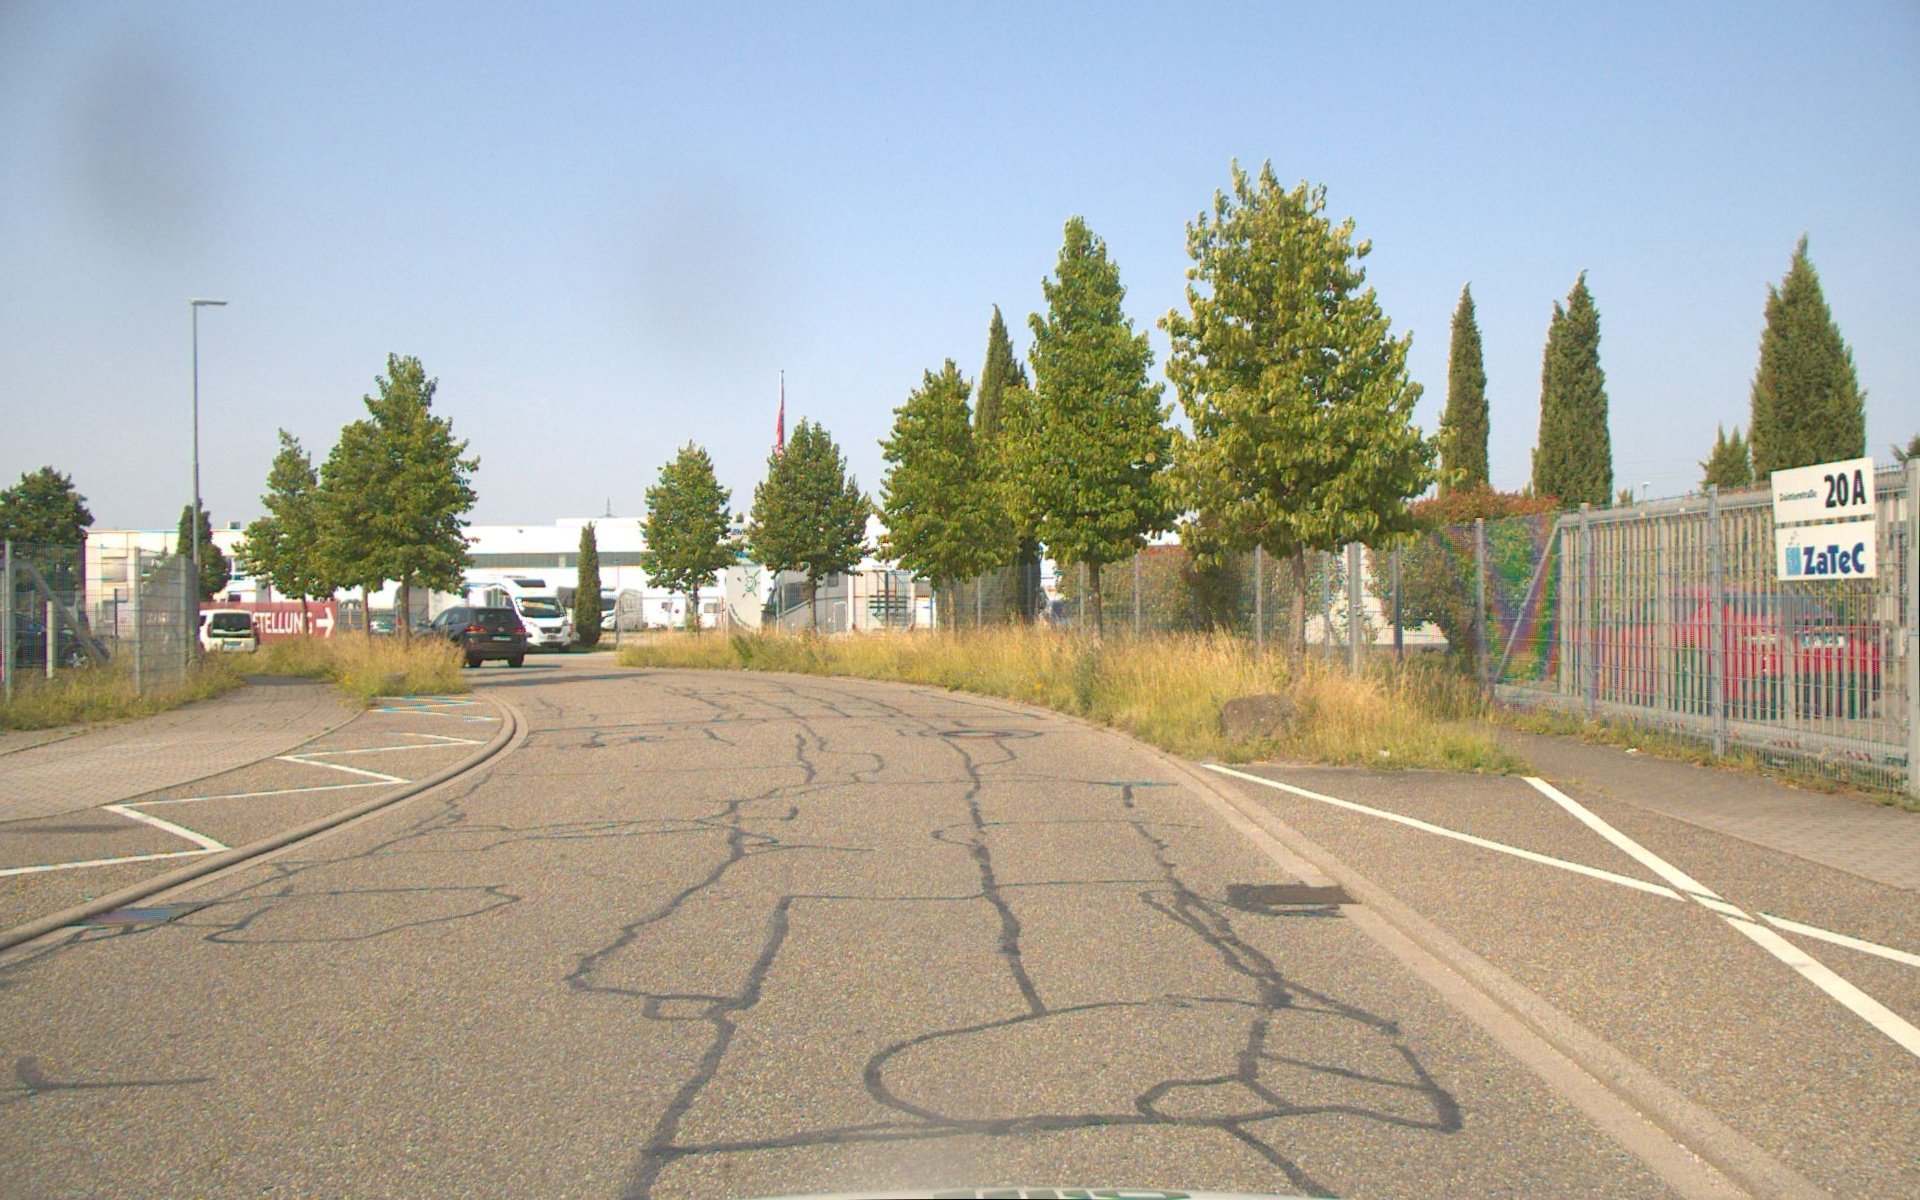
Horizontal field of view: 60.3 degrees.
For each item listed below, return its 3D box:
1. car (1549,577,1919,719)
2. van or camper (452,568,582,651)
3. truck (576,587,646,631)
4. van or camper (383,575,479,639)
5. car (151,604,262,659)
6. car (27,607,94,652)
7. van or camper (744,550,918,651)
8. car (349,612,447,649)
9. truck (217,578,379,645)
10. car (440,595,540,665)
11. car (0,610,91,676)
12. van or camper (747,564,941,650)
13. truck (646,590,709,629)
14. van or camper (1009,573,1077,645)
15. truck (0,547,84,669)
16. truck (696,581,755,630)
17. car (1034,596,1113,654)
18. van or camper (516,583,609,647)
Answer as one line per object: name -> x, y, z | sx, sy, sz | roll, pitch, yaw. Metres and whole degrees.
car -> 8.620, 0.482, 18.820 | 1.843, 1.381, 4.769 | -1, 0, -4
van or camper -> -16.901, 0.368, 62.803 | 2.314, 2.995, 6.876 | 0, 0, -38
truck -> -20.574, 0.509, 97.944 | 2.400, 2.514, 8.002 | 0, 0, 0
van or camper -> -27.232, 0.324, 85.403 | 2.607, 3.138, 6.796 | 0, 0, 1
car -> -27.454, 1.130, 60.221 | 4.384, 1.933, 1.990 | -1, 0, 40
car -> -43.974, 1.405, 80.828 | 1.811, 2.012, 3.935 | -5, 3, -44
van or camper -> -4.103, 0.061, 50.879 | 2.326, 2.898, 7.263 | 0, -1, -31
car -> -23.930, 1.285, 70.557 | 2.119, 1.502, 4.003 | -1, 0, 14
truck -> -41.513, 0.712, 103.909 | 9.099, 4.042, 2.457 | 0, 0, -3
car -> -13.314, 0.830, 46.715 | 1.970, 1.836, 3.965 | -1, 0, -27
car -> -22.148, 0.981, 38.090 | 1.568, 1.479, 3.483 | -1, -1, 41
van or camper -> -4.414, 0.258, 62.453 | 7.120, 3.085, 2.581 | -1, -1, -7
truck -> -17.122, 0.562, 100.656 | 2.400, 2.305, 8.002 | 0, 0, 0
van or camper -> 3.479, 0.428, 70.512 | 2.274, 2.914, 6.605 | -1, -1, -3
truck -> -35.223, 0.365, 59.979 | 2.615, 3.998, 12.705 | 1, -1, -44
truck -> -14.199, 0.326, 100.648 | 2.400, 2.876, 8.002 | 0, 0, 0
car -> 3.369, 0.726, 49.736 | 1.689, 1.672, 3.995 | 1, 0, -6
van or camper -> -16.940, 0.587, 70.815 | 2.432, 2.603, 6.625 | 0, 0, -1
